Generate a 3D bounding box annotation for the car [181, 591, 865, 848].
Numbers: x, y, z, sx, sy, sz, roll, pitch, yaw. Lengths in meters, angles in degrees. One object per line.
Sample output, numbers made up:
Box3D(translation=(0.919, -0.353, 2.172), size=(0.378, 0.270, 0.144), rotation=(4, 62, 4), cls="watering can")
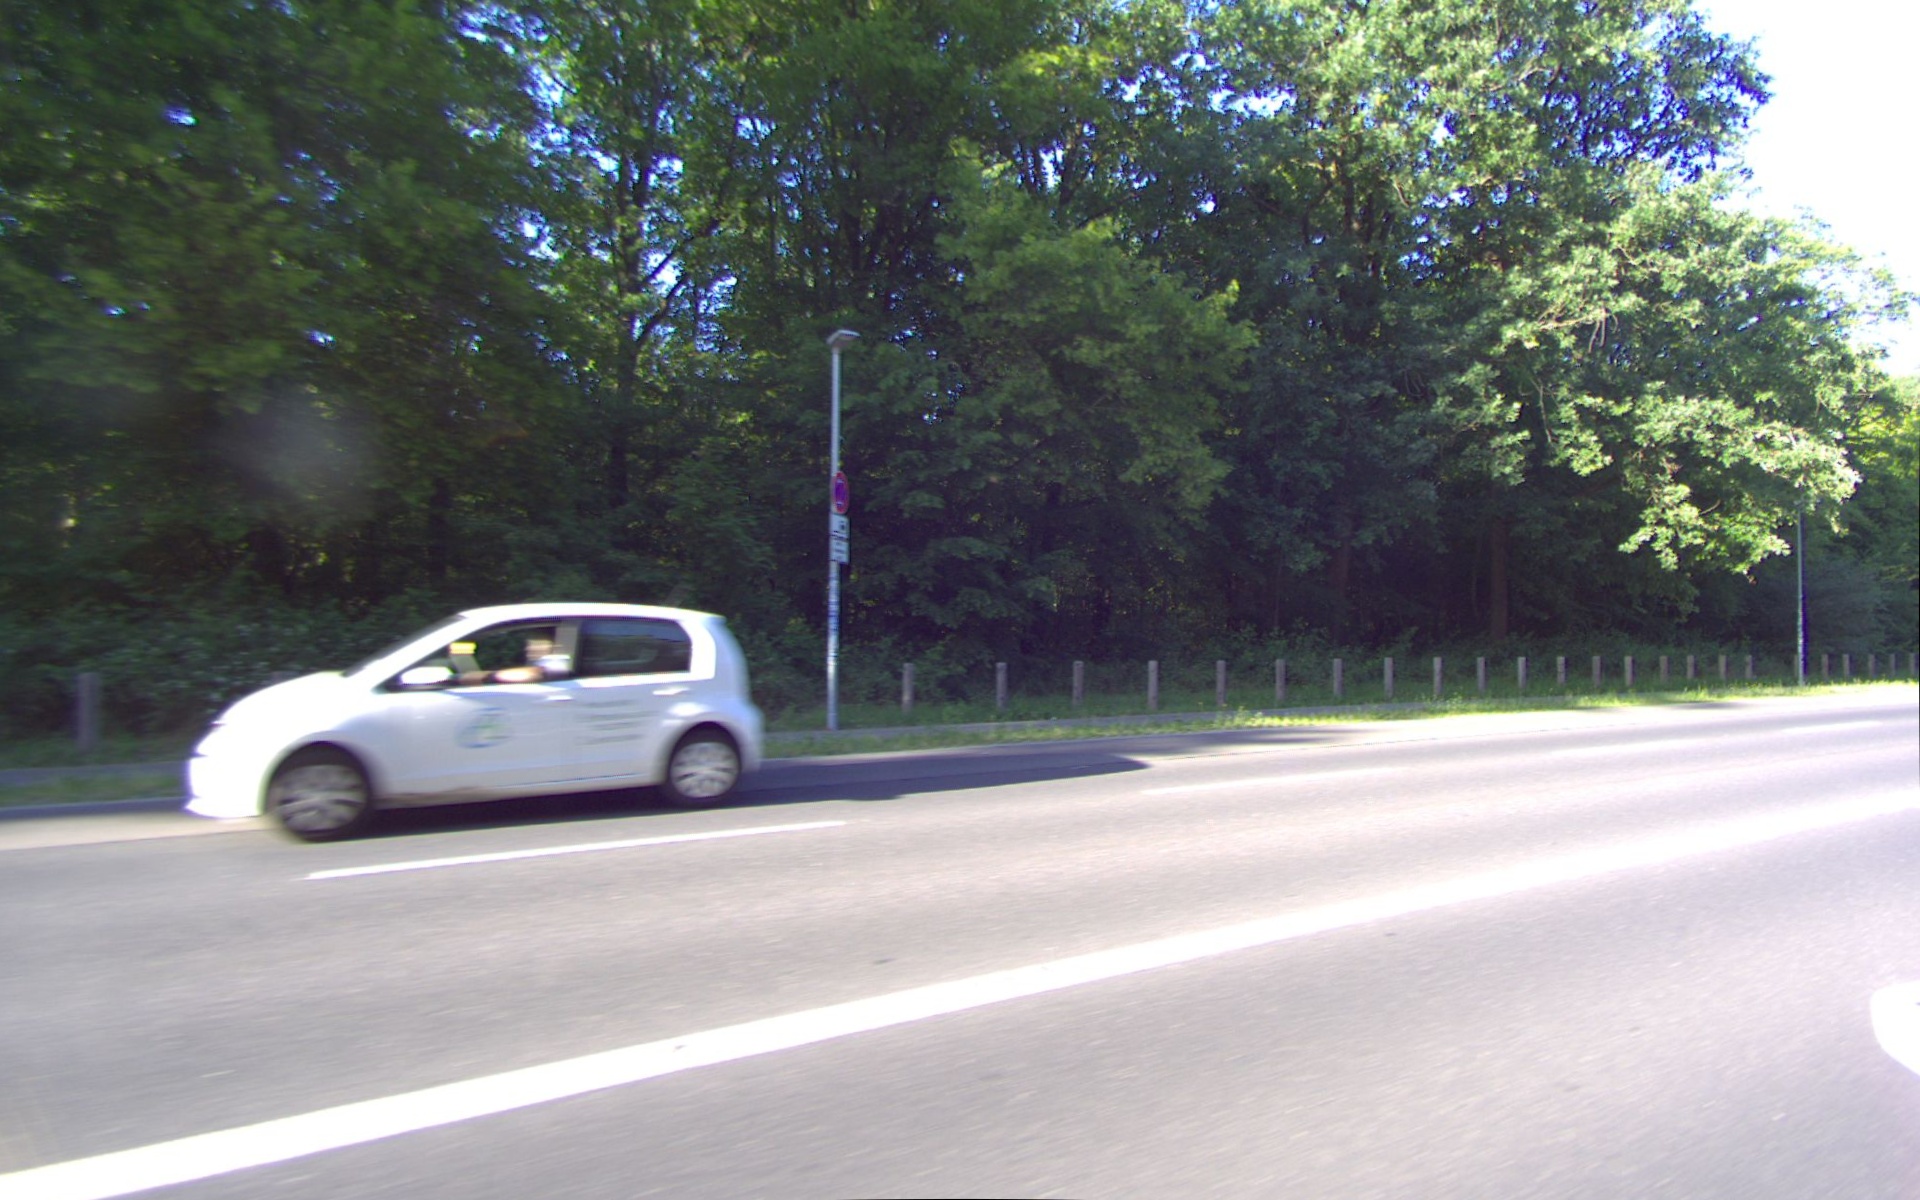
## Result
Box3D(translation=(-2.981, 0.723, 7.498), size=(4.258, 1.456, 1.580), rotation=(1, 0, -30), cls="car")
